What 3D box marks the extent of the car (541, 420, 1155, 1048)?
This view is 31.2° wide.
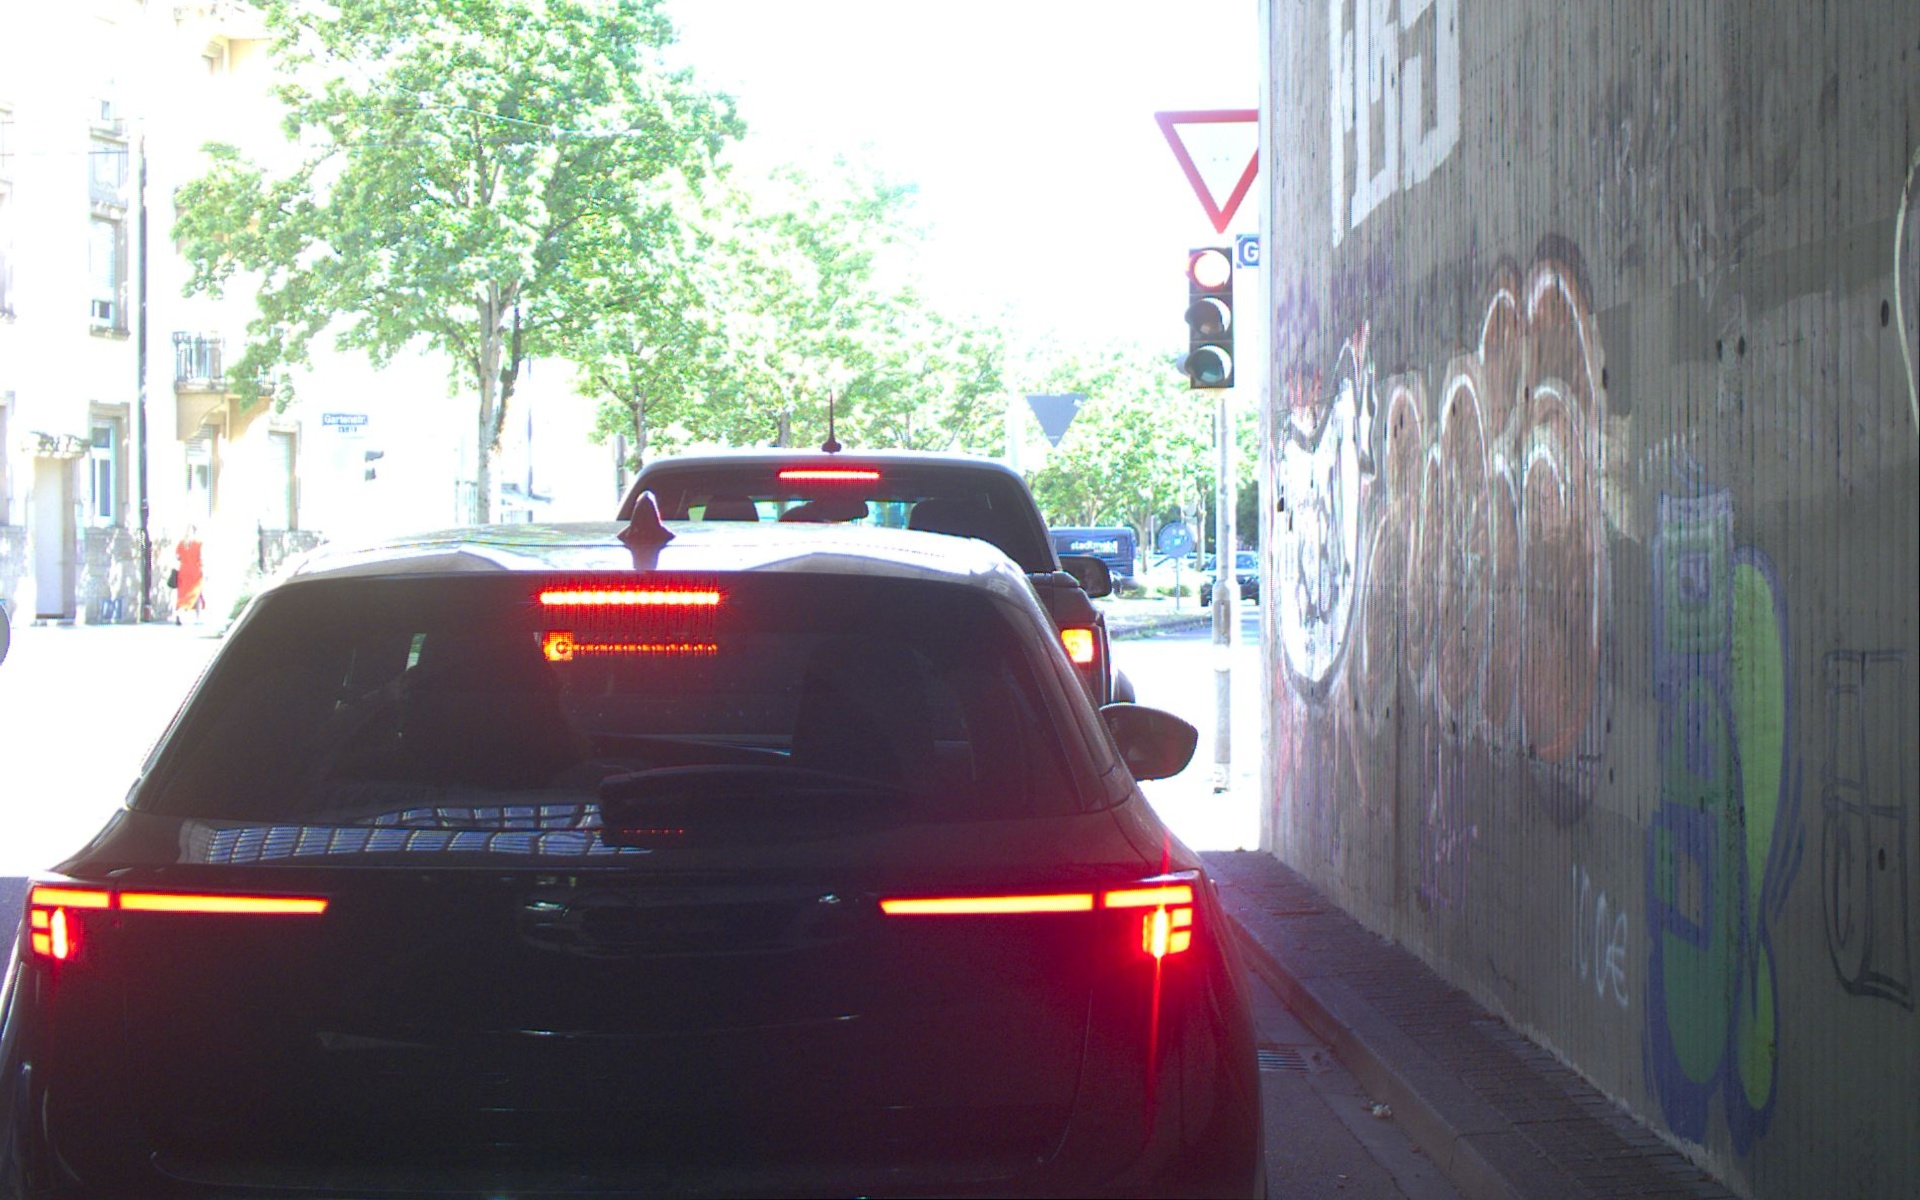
[{"bbox_3d":[-0.347,0.357,12.086,1.786,1.827,3.961,1,1,0],"label":"car"}]

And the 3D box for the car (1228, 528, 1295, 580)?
[{"bbox_3d":[8.491,-1.306,96.754,1.599,1.447,3.794,0,1,9],"label":"car"}]

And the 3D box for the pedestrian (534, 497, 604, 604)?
[{"bbox_3d":[-5.840,-0.739,51.412,0.736,1.579,0.889,1,0,15],"label":"pedestrian"}]

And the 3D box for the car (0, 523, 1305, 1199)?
[{"bbox_3d":[-0.480,0.626,6.170,1.753,1.493,4.000,1,1,0],"label":"car"}]

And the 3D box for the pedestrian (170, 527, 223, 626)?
[{"bbox_3d":[-13.292,-0.416,59.865,0.623,1.699,0.723,1,0,12],"label":"pedestrian"}]

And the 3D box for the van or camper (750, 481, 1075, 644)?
[{"bbox_3d":[-0.569,-0.474,43.592,3.878,2.007,2.000,0,1,7],"label":"van or camper"}]

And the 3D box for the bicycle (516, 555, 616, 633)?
[{"bbox_3d":[-5.865,-0.106,51.337,0.737,1.126,2.025,0,1,17],"label":"bicycle"}]

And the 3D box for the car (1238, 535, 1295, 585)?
[{"bbox_3d":[10.174,-1.335,113.910,1.584,1.634,3.804,0,1,10],"label":"car"}]
